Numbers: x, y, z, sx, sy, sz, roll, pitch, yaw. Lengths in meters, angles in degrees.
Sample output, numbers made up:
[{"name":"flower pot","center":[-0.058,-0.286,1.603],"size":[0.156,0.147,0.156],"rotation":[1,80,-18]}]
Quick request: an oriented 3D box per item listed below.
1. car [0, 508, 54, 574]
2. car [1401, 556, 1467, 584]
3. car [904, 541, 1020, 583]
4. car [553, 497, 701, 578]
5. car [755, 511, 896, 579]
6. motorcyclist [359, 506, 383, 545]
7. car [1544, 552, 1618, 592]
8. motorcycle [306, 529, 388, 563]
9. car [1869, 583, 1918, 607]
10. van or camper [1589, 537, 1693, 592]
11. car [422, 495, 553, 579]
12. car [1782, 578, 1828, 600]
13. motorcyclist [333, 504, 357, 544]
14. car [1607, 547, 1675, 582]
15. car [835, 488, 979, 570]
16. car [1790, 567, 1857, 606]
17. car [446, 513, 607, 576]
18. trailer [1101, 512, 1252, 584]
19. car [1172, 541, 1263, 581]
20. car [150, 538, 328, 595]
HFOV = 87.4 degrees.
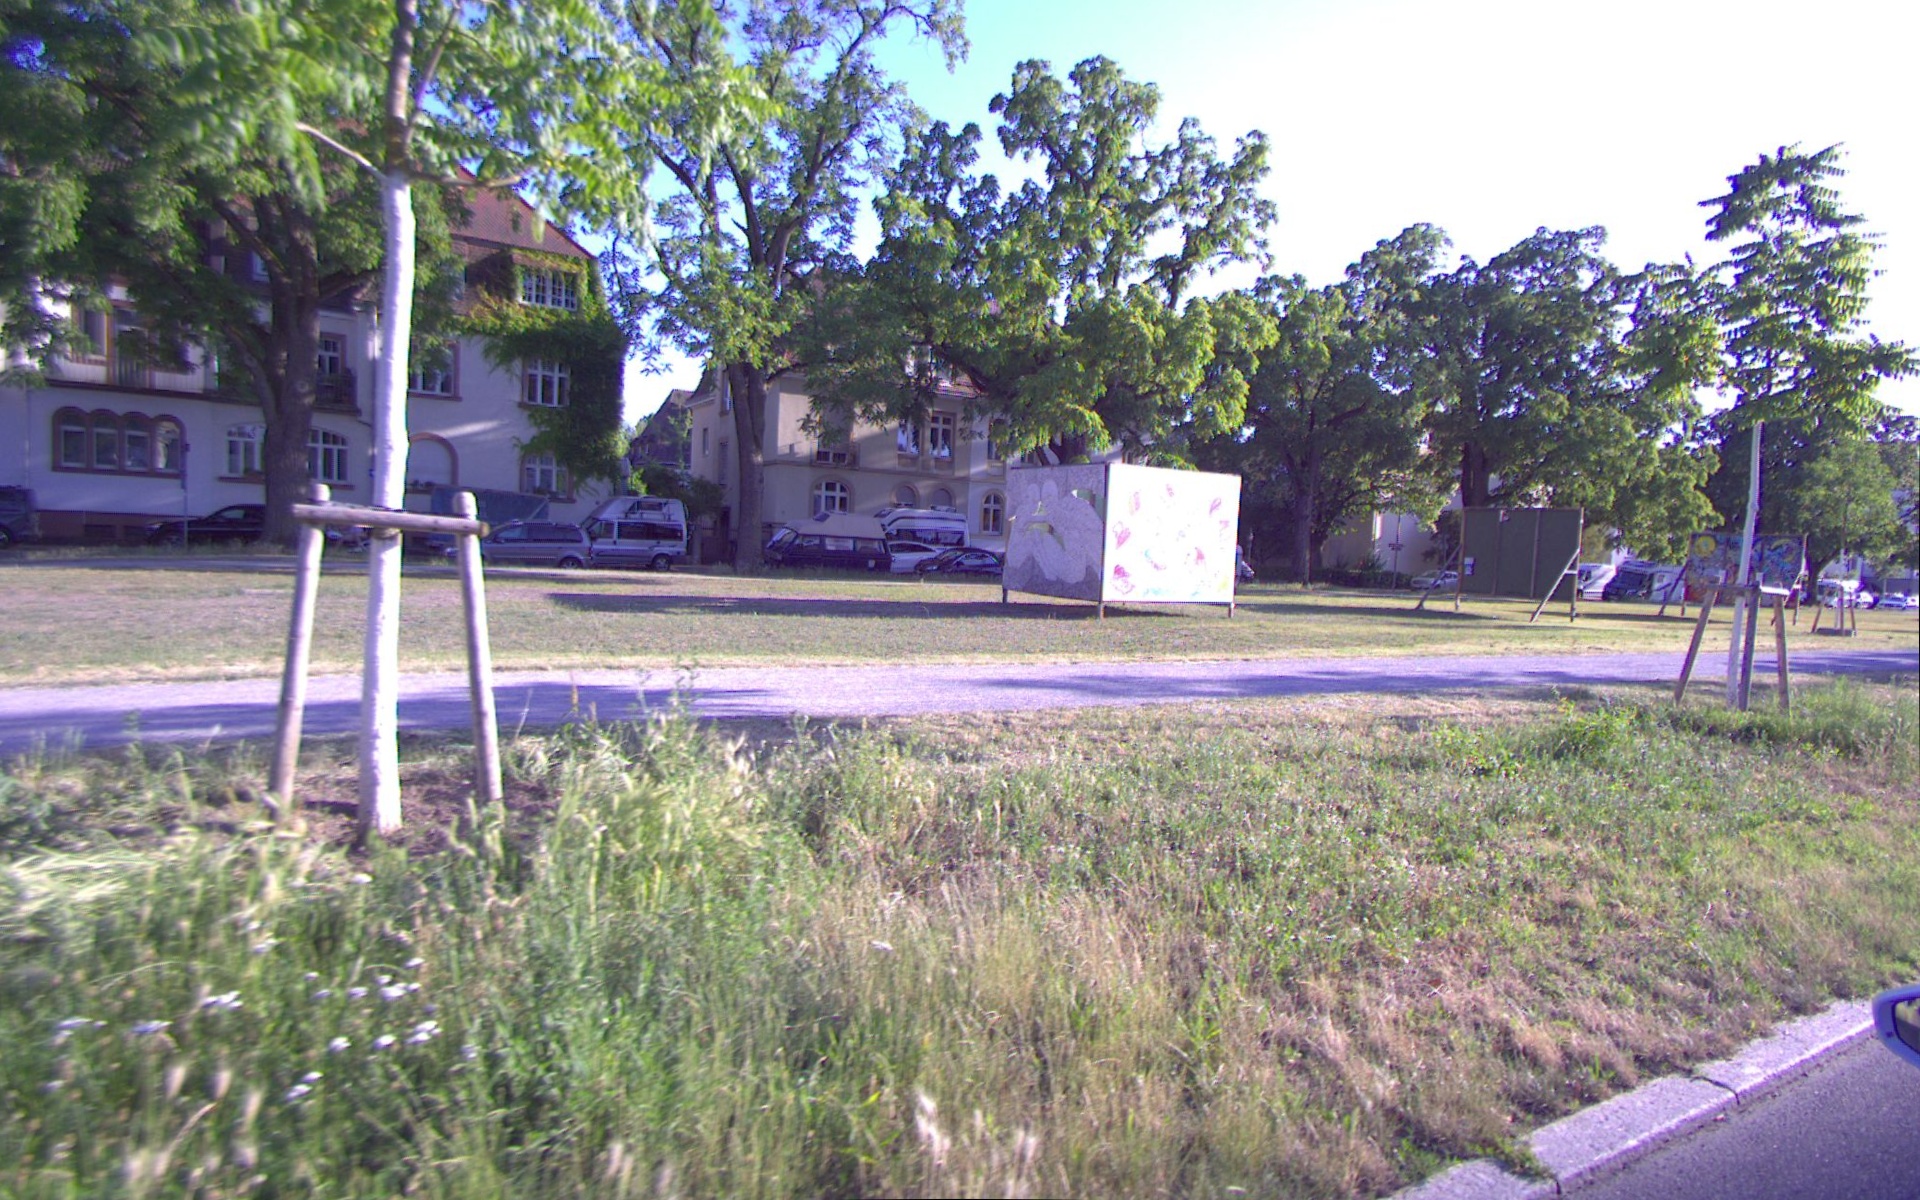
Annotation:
[{"name":"car","center":[-28.445,-1.712,28.180],"size":[4.245,1.849,1.609],"rotation":[0,4,-35]},{"name":"car","center":[29.961,-1.905,63.506],"size":[3.767,1.563,1.982],"rotation":[1,4,-32]},{"name":"car","center":[0.078,-1.446,38.548],"size":[3.991,1.333,1.845],"rotation":[1,5,-28]},{"name":"car","center":[-12.506,-2.266,37.825],"size":[4.985,2.675,1.936],"rotation":[2,0,-30]},{"name":"car","center":[-4.750,-1.930,35.653],"size":[4.521,2.204,1.982],"rotation":[0,4,-33]},{"name":"motorcyclist","center":[-18.032,-2.286,30.758],"size":[0.568,1.165,0.745],"rotation":[0,4,-28]},{"name":"car","center":[45.148,-1.993,72.949],"size":[6.020,2.632,1.983],"rotation":[2,0,-31]},{"name":"motorcycle","center":[-18.569,-1.633,30.472],"size":[2.086,0.970,0.561],"rotation":[0,5,-31]},{"name":"car","center":[81.323,-0.451,87.508],"size":[4.587,1.924,1.825],"rotation":[2,0,-30]},{"name":"van or camper","center":[43.866,-2.267,64.659],"size":[6.822,3.307,2.629],"rotation":[0,4,-30]},{"name":"car","center":[-16.618,-2.183,35.327],"size":[3.954,2.575,1.983],"rotation":[3,3,-30]},{"name":"car","center":[77.057,-0.983,91.562],"size":[4.660,1.879,1.721],"rotation":[2,0,-31]},{"name":"motorcyclist","center":[-18.597,-2.305,30.390],"size":[0.568,1.165,0.745],"rotation":[0,4,-28]},{"name":"car","center":[43.866,-2.267,64.659],"size":[3.952,2.041,1.984],"rotation":[0,4,-30]},{"name":"car","center":[-2.278,-3.028,43.770],"size":[6.004,3.294,1.983],"rotation":[0,4,-31]},{"name":"car","center":[68.209,-1.013,79.327],"size":[5.802,2.863,2.250],"rotation":[2,0,-30]},{"name":"car","center":[-13.233,-1.672,30.710],"size":[4.295,1.752,1.983],"rotation":[0,4,-32]},{"name":"trailer","center":[9.544,-2.185,44.113],"size":[6.561,2.694,2.460],"rotation":[2,0,-31]},{"name":"car","center":[13.772,-2.052,53.683],"size":[4.657,1.938,1.881],"rotation":[0,4,-30]},{"name":"car","center":[-22.807,-1.065,32.010],"size":[4.391,1.683,1.919],"rotation":[0,4,-30]}]
